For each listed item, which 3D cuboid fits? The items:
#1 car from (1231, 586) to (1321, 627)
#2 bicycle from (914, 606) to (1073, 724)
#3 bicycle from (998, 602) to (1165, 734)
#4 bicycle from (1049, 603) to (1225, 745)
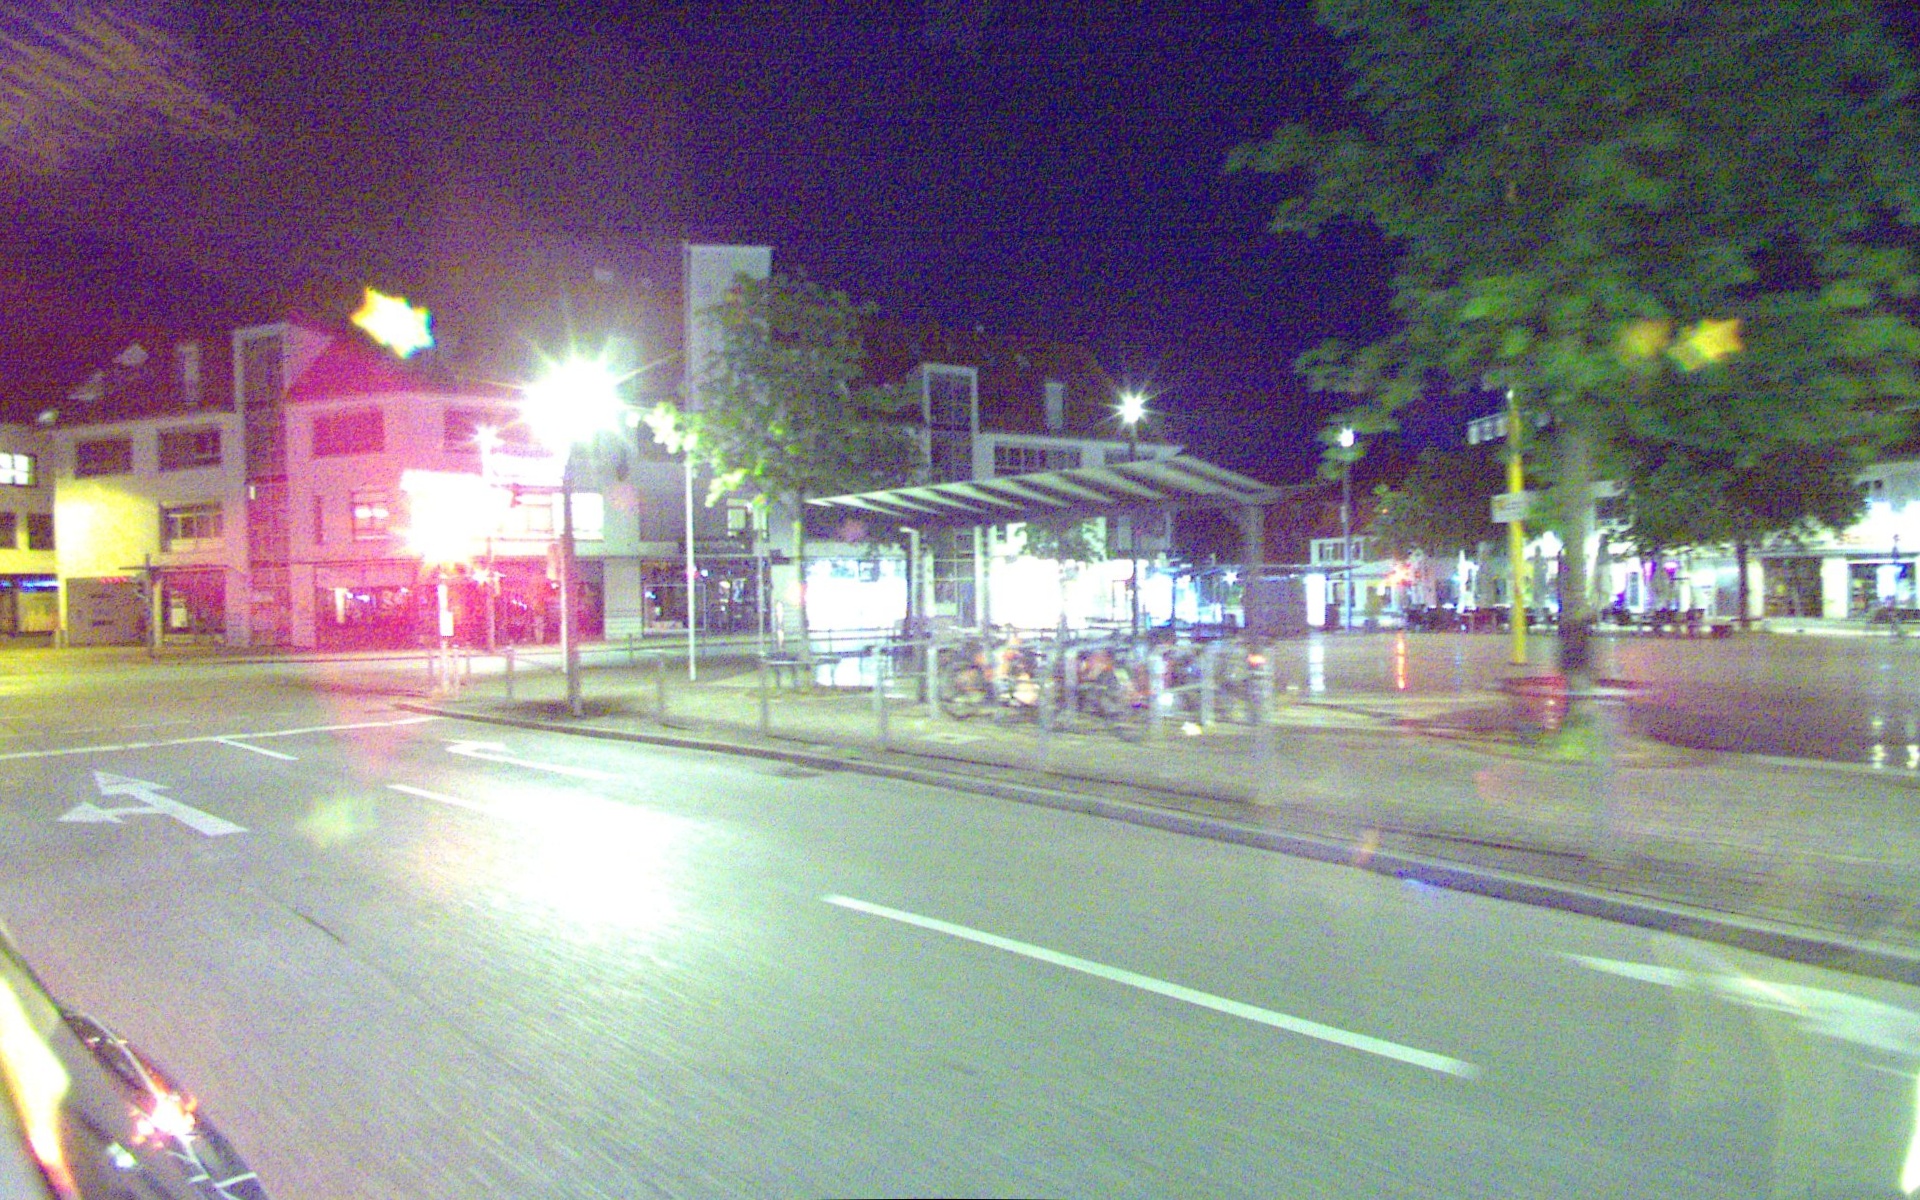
[{"bbox_3d":[15.847,0.327,50.672,4.344,1.951,1.965,-1,-2,-35],"label":"car"},{"bbox_3d":[0.421,0.707,11.797,1.813,1.166,0.788,-4,3,-44],"label":"bicycle"},{"bbox_3d":[1.293,0.649,10.520,1.715,1.166,0.788,-4,3,-44],"label":"bicycle"},{"bbox_3d":[1.757,0.670,9.897,1.715,1.175,0.787,-4,2,-44],"label":"bicycle"}]
